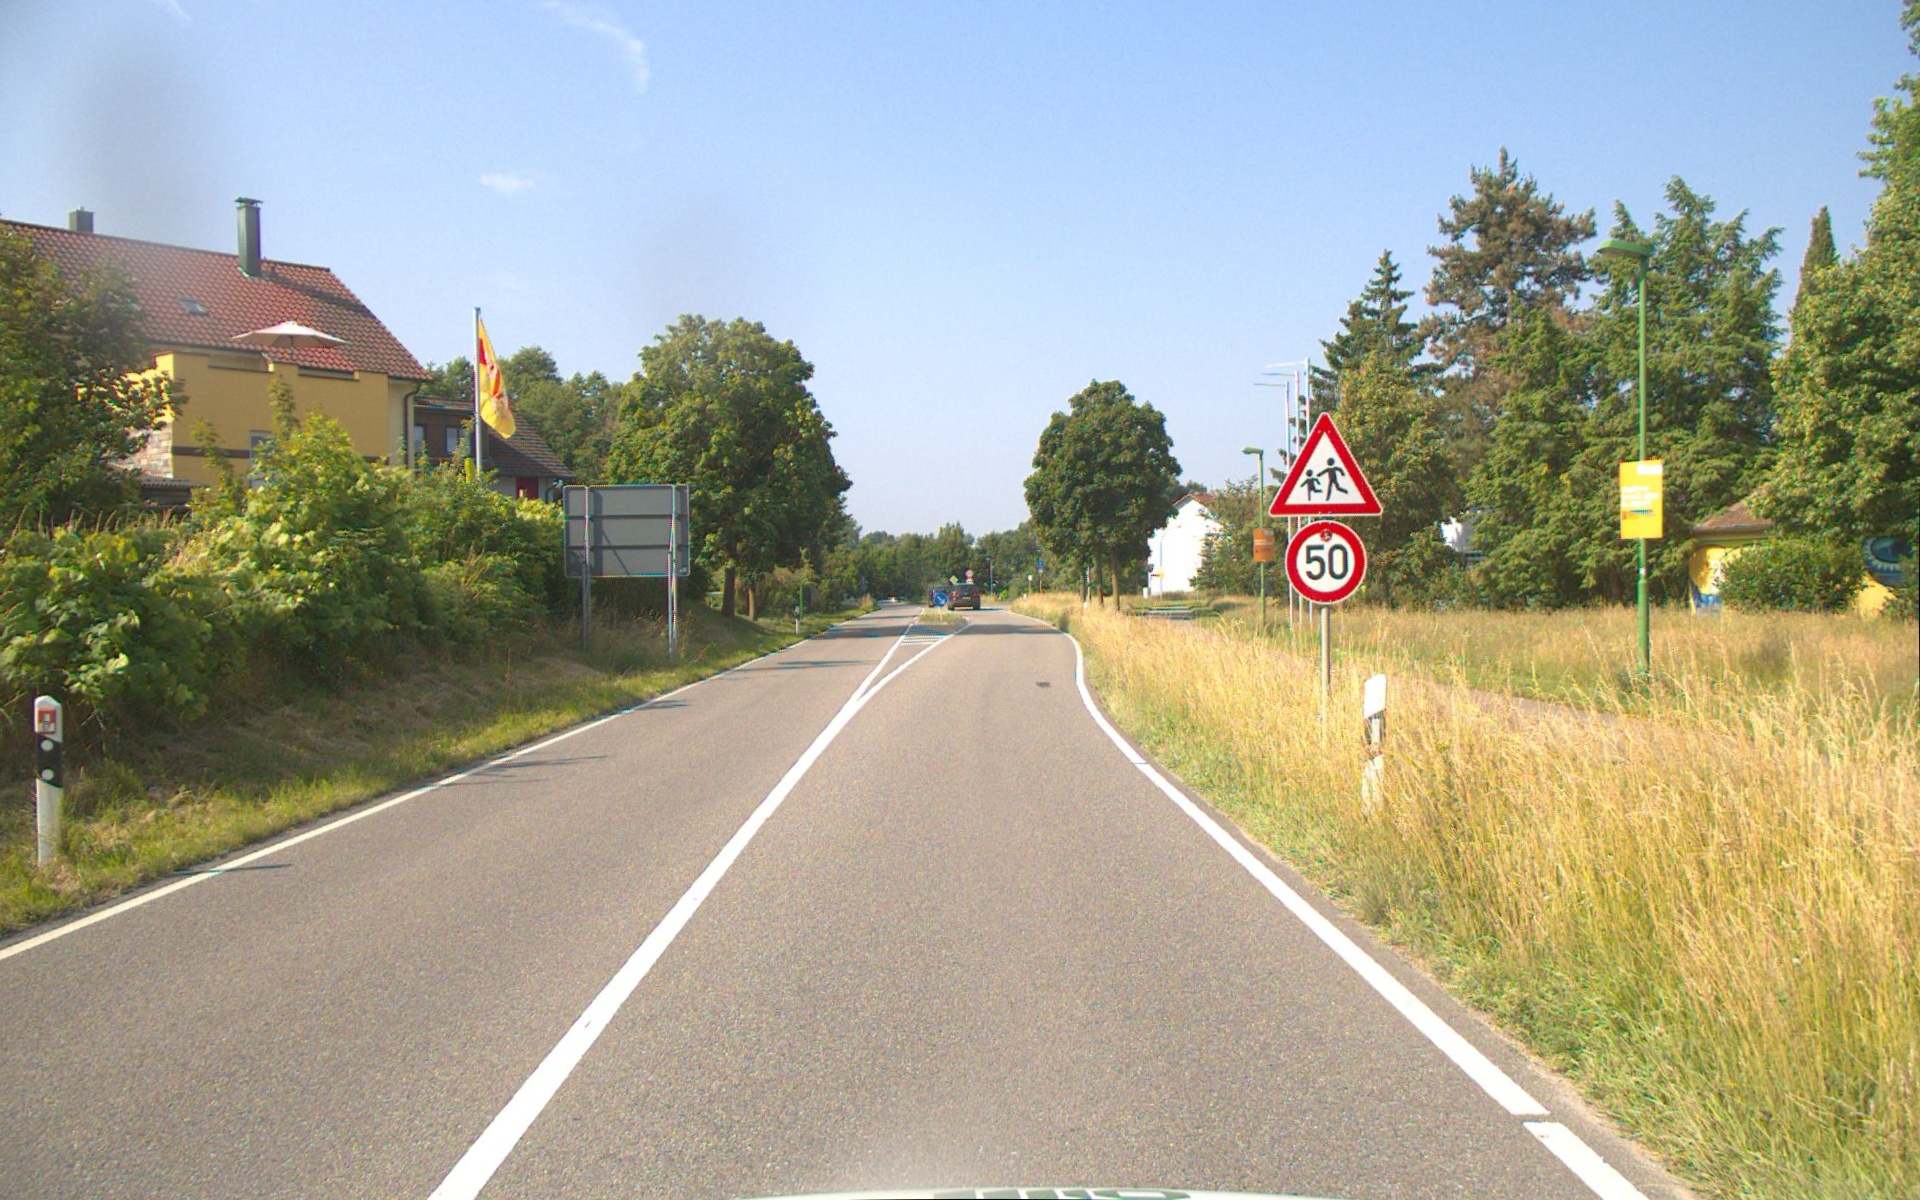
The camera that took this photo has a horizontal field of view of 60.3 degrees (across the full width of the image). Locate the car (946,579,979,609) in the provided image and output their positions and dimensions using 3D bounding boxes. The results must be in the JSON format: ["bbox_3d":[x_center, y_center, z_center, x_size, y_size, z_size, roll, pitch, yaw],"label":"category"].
[{"bbox_3d":[0.154,-0.403,105.078,1.887,1.802,3.998,-1,1,-3],"label":"car"}]

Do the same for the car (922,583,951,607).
[{"bbox_3d":[-1.835,-0.421,127.181,1.965,1.802,3.997,-1,1,-4],"label":"car"}]
